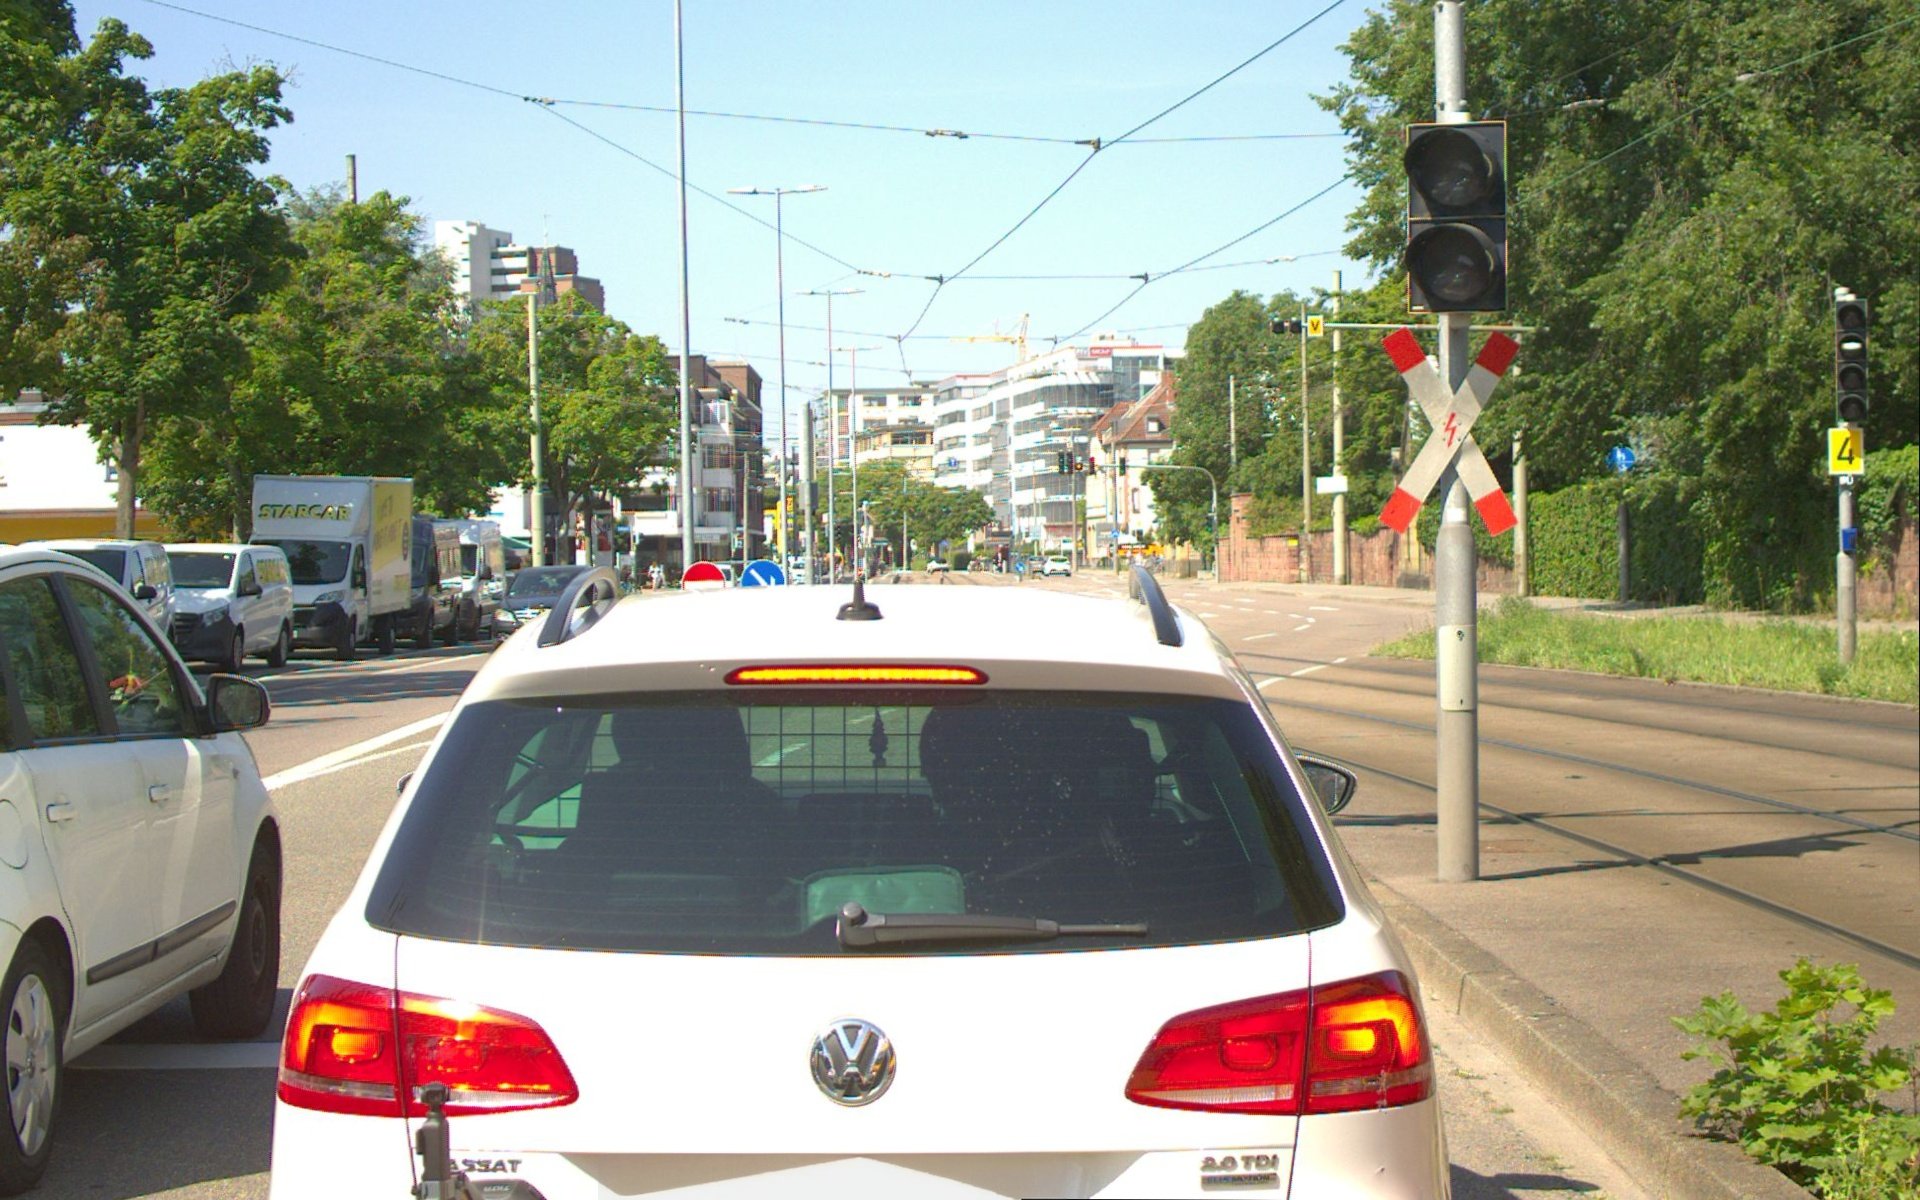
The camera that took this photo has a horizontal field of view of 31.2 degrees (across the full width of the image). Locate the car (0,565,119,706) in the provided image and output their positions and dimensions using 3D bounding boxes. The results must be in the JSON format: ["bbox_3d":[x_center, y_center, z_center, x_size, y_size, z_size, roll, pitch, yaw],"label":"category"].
[{"bbox_3d":[-11.002,0.376,38.615,1.932,1.449,4.886,-2,1,-1],"label":"car"}]

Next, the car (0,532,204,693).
[{"bbox_3d":[-11.393,0.125,44.958,2.195,1.934,5.186,-2,1,-4],"label":"car"}]

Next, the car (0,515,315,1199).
[{"bbox_3d":[-2.945,0.589,9.024,1.730,1.591,4.011,0,1,0],"label":"car"}]

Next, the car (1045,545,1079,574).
[{"bbox_3d":[7.203,-2.865,242.851,2.126,2.007,5.283,-2,1,-1],"label":"car"}]

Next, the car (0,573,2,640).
[{"bbox_3d":[-22.789,0.093,73.755,3.986,1.688,1.664,-2,0,-2],"label":"car"}]

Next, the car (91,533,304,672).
[{"bbox_3d":[-11.443,-0.009,51.958,2.195,1.934,5.185,-2,1,-2],"label":"car"}]

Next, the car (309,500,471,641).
[{"bbox_3d":[-11.235,-0.610,68.174,2.196,2.659,6.080,1,1,0],"label":"car"}]

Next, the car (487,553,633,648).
[{"bbox_3d":[-6.586,-0.018,57.030,1.785,1.404,4.305,-1,2,2],"label":"car"}]

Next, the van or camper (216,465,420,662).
[{"bbox_3d":[-11.151,-0.659,60.243,2.196,3.230,6.772,1,1,1],"label":"van or camper"}]

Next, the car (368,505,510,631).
[{"bbox_3d":[-11.287,-0.717,74.890,2.196,2.621,5.979,1,1,0],"label":"car"}]

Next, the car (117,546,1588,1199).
[{"bbox_3d":[-0.134,0.667,6.121,1.778,1.485,3.847,1,1,0],"label":"car"}]
